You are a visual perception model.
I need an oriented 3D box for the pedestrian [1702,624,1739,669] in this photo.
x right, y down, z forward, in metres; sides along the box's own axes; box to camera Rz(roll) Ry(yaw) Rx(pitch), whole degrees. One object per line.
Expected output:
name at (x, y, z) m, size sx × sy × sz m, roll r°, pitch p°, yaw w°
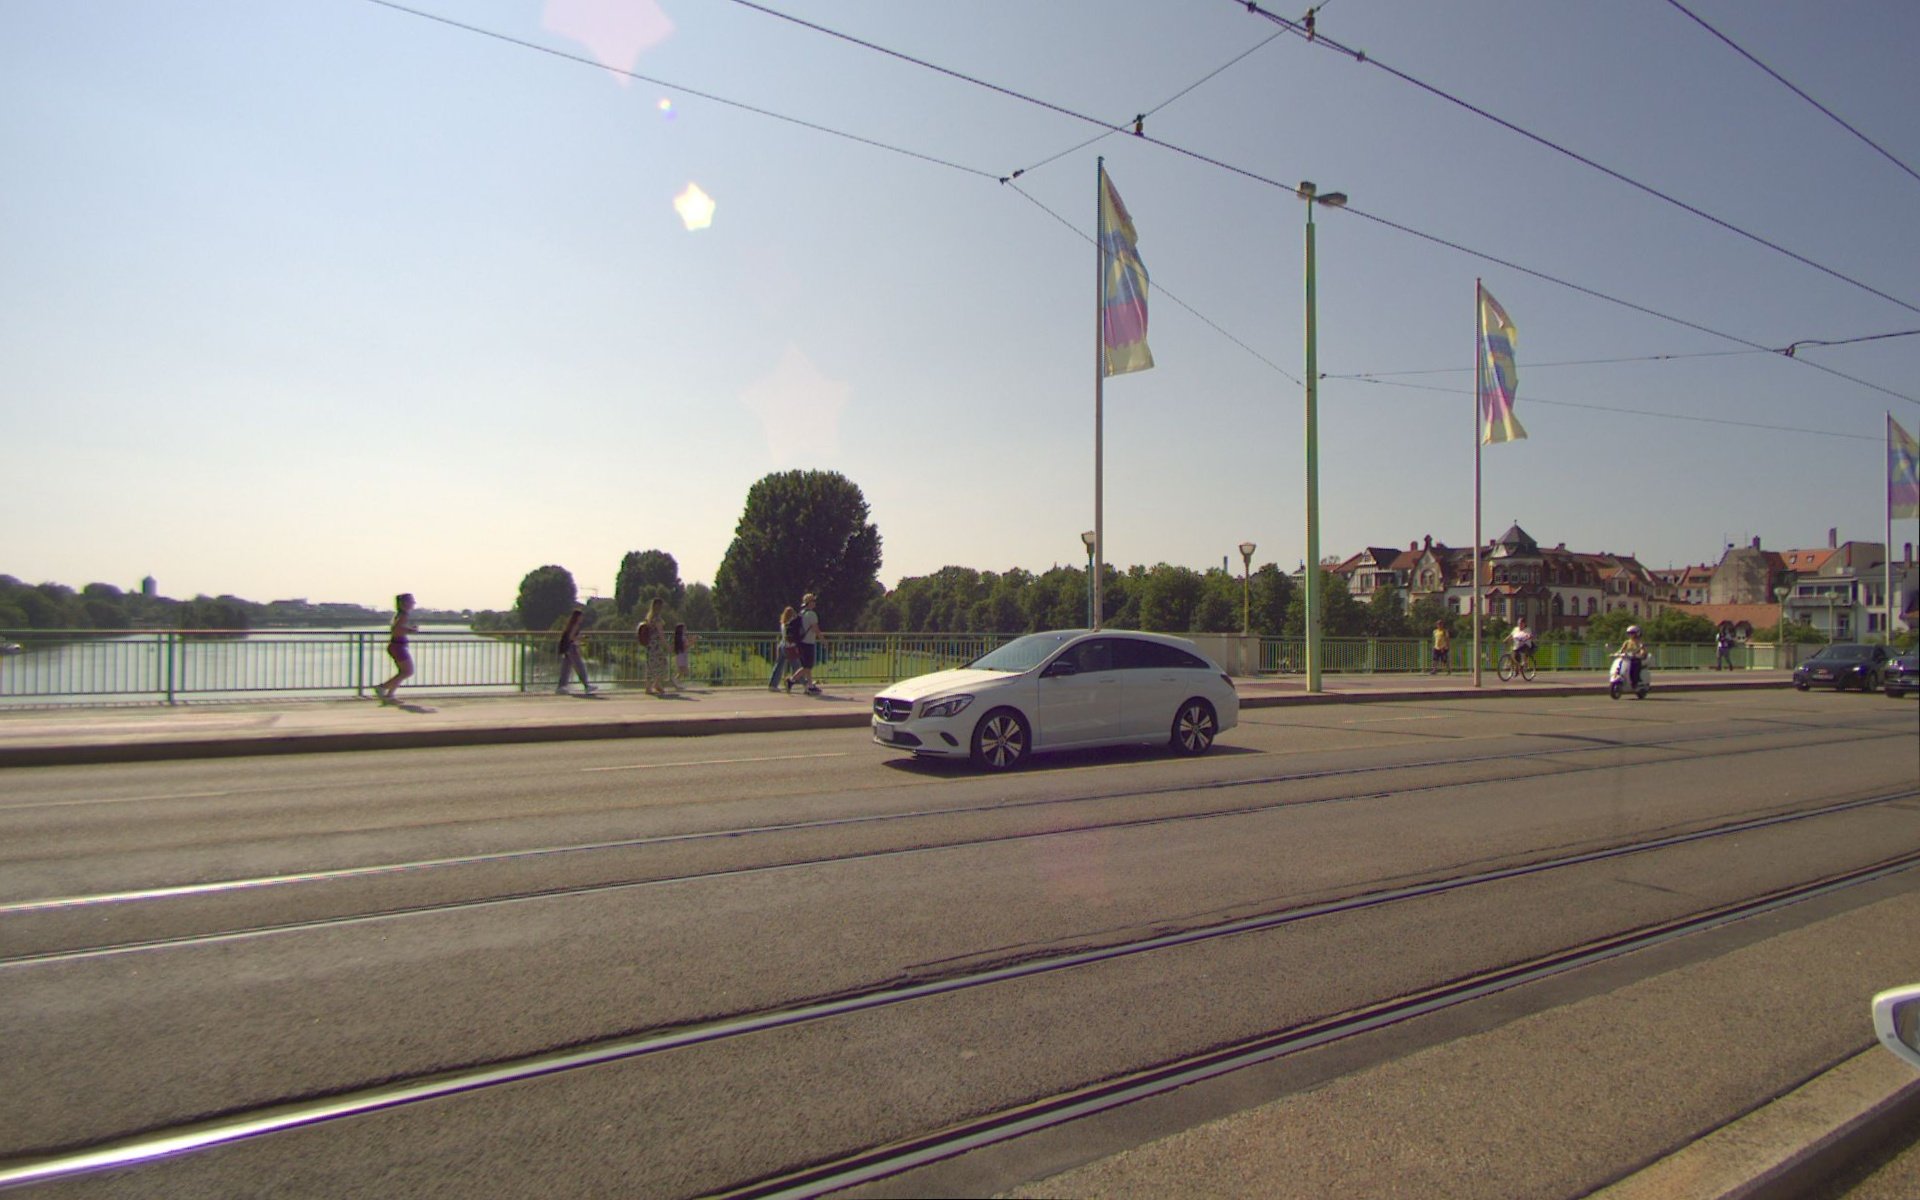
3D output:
pedestrian at (30.239, 1.845, 39.922) m, size 1.081 × 1.745 × 0.826 m, roll 1°, pitch -1°, yaw -30°

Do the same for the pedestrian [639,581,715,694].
pedestrian at (-5.339, 0.685, 18.938) m, size 1.117 × 2.040 × 1.091 m, roll 0°, pitch 0°, yaw -33°

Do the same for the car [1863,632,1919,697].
car at (25.829, 1.655, 26.078) m, size 4.277 × 1.621 × 1.989 m, roll 1°, pitch -1°, yaw -24°

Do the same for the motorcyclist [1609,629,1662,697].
motorcyclist at (16.433, 1.519, 24.440) m, size 0.822 × 1.595 × 0.823 m, roll 1°, pitch -1°, yaw -31°

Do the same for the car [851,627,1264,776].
car at (1.186, 1.072, 11.690) m, size 4.494 × 1.427 × 1.985 m, roll 1°, pitch -4°, yaw -30°

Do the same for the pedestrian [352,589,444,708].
pedestrian at (-8.554, 0.722, 15.290) m, size 1.163 × 1.745 × 0.750 m, roll 1°, pitch -1°, yaw -33°

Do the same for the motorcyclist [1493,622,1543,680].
motorcyclist at (15.585, 1.418, 28.054) m, size 1.057 × 1.569 × 0.796 m, roll 1°, pitch -1°, yaw -31°

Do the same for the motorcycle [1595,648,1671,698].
motorcycle at (16.336, 1.754, 24.358) m, size 2.154 × 1.125 × 0.697 m, roll 1°, pitch -1°, yaw -31°

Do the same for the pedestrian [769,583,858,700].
pedestrian at (-2.660, 0.731, 18.247) m, size 1.281 × 2.040 × 1.091 m, roll 0°, pitch -1°, yaw -33°

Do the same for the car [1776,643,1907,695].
car at (26.517, 2.025, 30.185) m, size 4.333 × 1.380 × 1.749 m, roll 1°, pitch -1°, yaw -31°

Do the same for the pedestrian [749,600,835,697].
pedestrian at (-3.182, 0.894, 19.014) m, size 1.281 × 1.752 × 1.091 m, roll 0°, pitch -1°, yaw -33°

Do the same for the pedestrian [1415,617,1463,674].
pedestrian at (14.548, 1.361, 30.526) m, size 1.016 × 1.680 × 0.895 m, roll 1°, pitch -1°, yaw -28°

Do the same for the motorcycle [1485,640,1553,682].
motorcycle at (15.598, 1.676, 28.007) m, size 2.154 × 1.125 × 0.697 m, roll 1°, pitch -1°, yaw -31°

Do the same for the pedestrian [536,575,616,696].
pedestrian at (-6.730, 0.605, 17.599) m, size 1.117 × 2.040 × 1.091 m, roll 0°, pitch 0°, yaw -33°
